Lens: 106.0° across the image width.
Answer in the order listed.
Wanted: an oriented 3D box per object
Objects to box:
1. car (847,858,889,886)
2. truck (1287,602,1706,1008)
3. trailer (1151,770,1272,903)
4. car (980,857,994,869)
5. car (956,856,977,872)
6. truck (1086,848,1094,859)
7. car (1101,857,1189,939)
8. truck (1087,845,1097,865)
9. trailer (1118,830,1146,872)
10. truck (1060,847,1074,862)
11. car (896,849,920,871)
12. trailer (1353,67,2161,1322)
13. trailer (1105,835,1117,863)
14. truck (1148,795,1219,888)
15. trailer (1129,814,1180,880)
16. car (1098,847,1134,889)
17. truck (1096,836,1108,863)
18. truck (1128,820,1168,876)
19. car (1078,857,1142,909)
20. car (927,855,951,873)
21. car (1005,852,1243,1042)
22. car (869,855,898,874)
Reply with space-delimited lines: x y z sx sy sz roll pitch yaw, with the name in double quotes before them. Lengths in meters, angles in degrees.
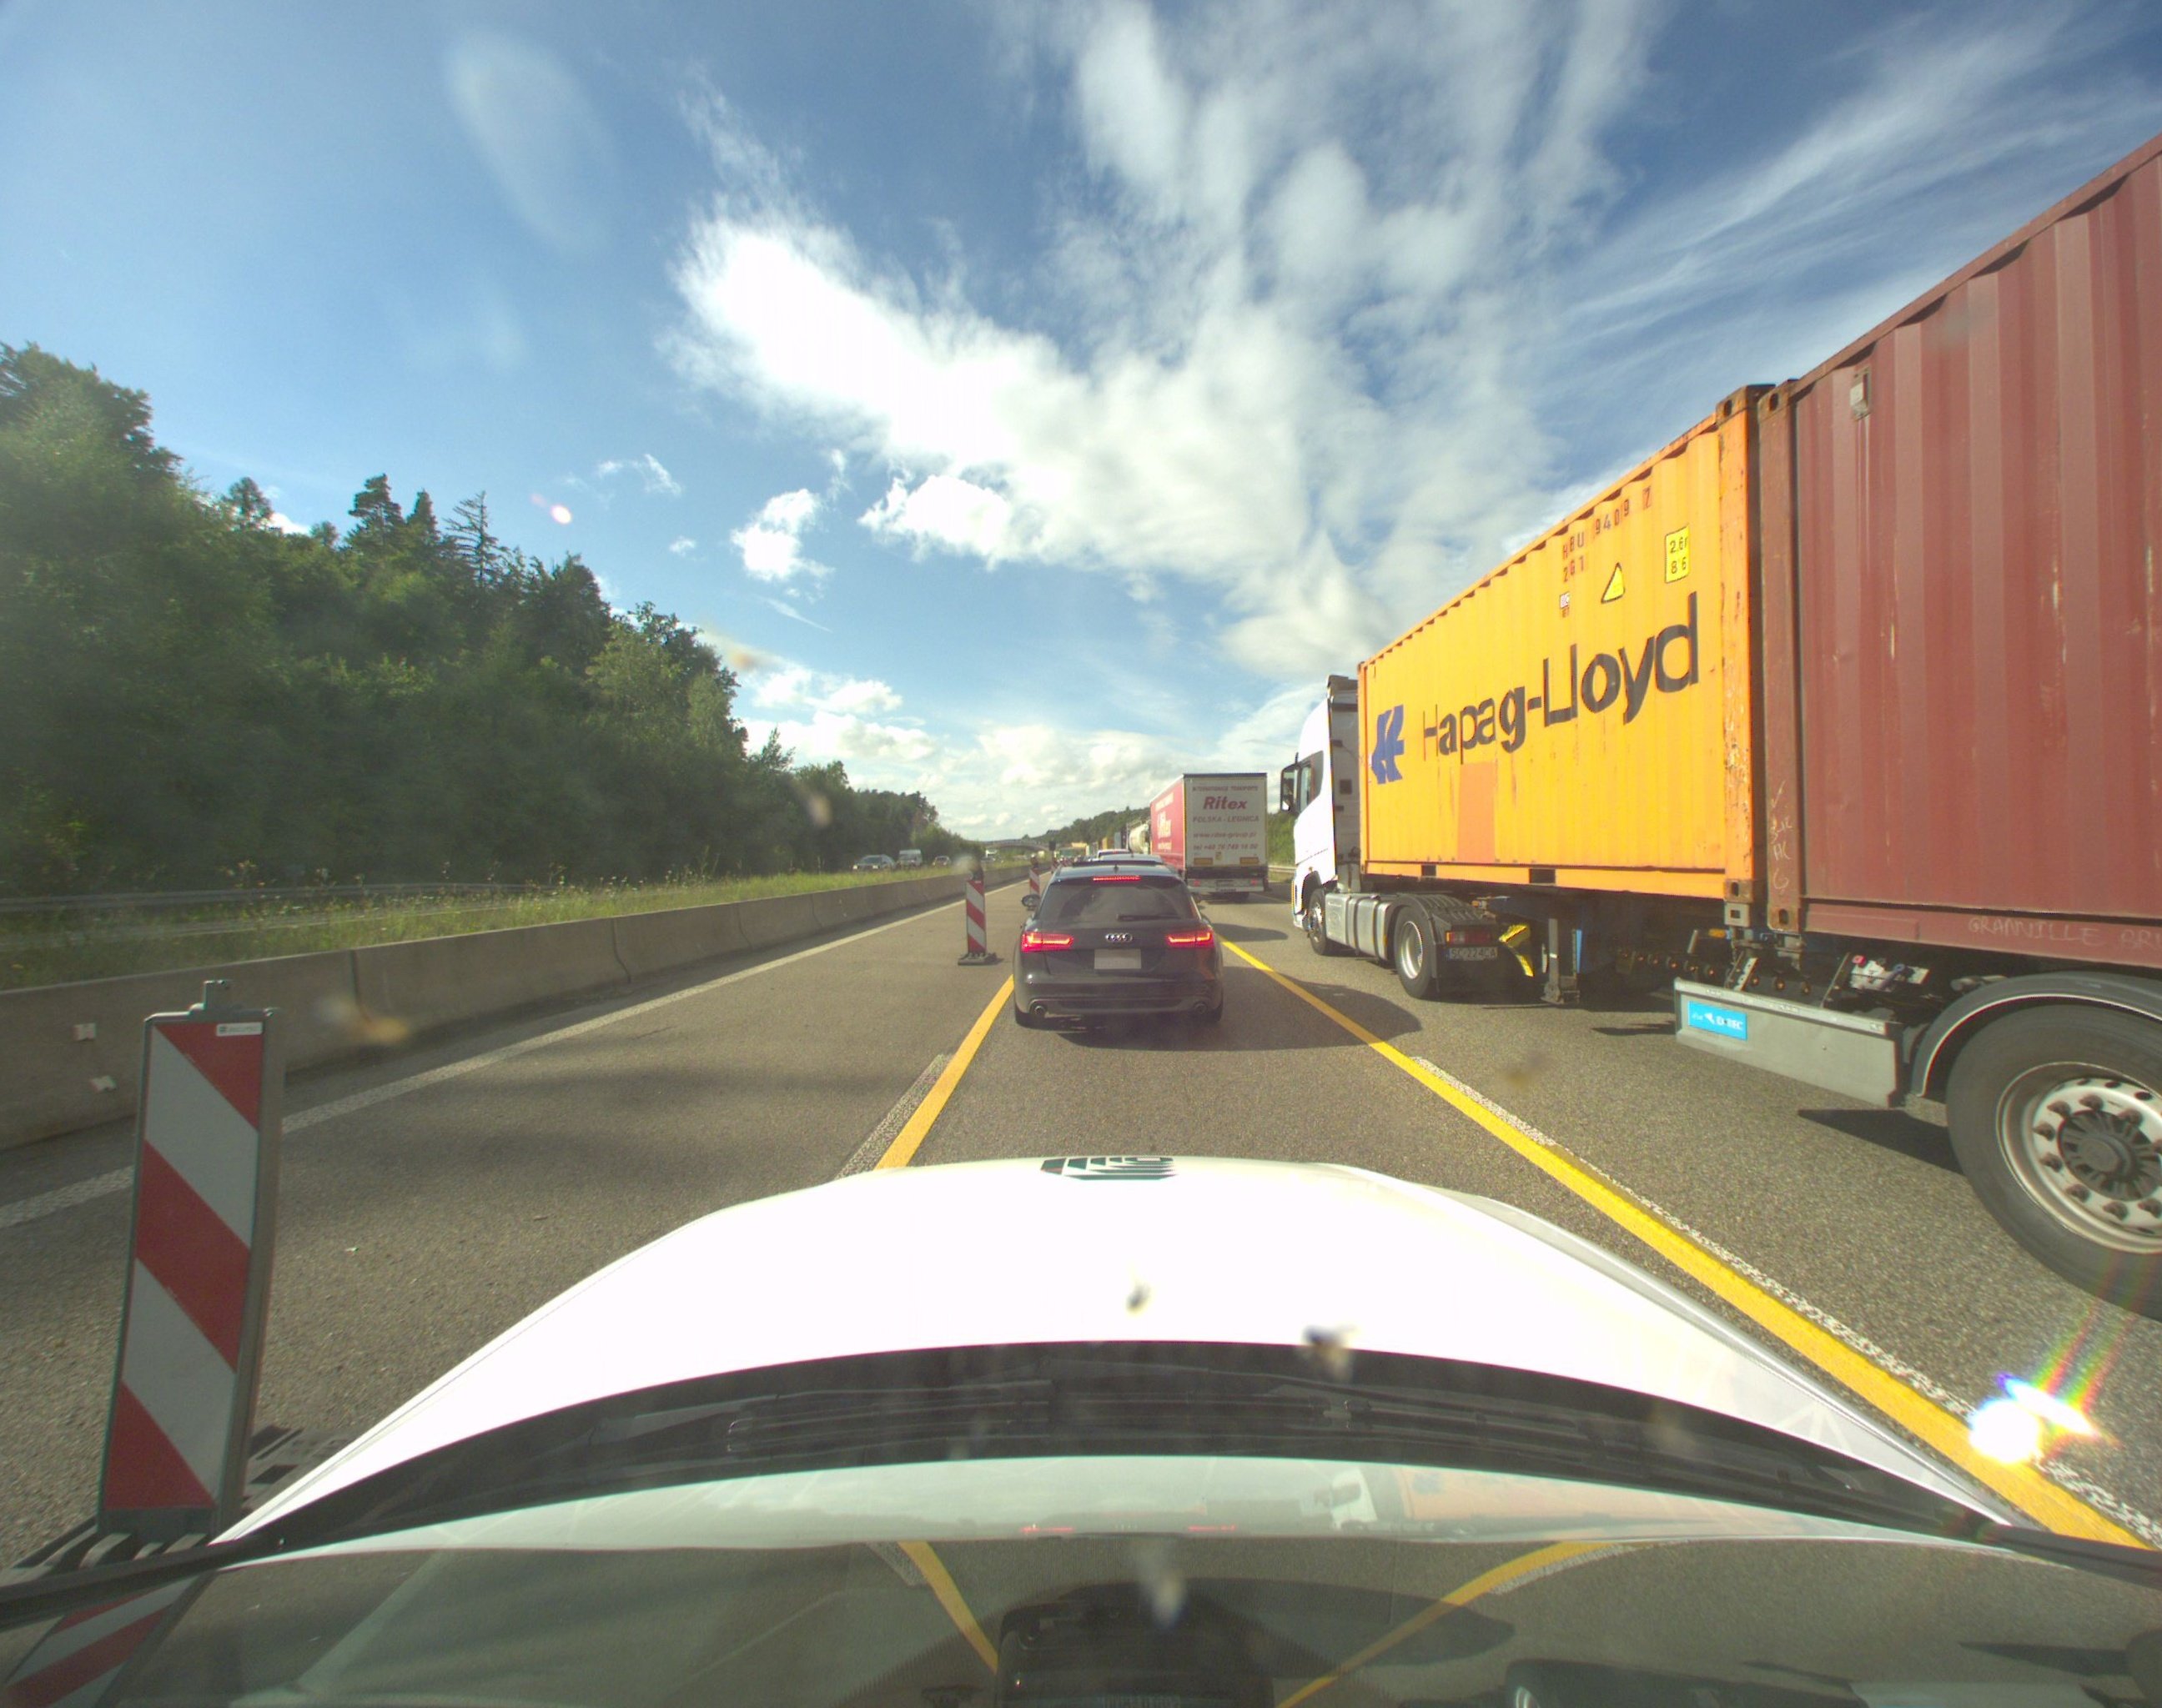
"car" -13.801 1.144 52.886 1.709 1.706 3.524 0 -1 2
"truck" 4.621 -0.451 10.519 2.486 3.780 5.790 -1 0 1
"trailer" 4.499 -0.521 31.161 2.690 3.969 13.420 -1 0 1
"car" -13.138 1.297 114.409 1.477 1.653 3.235 0 -1 2
"car" -13.327 1.205 95.133 1.792 1.849 3.812 0 -1 2
"truck" 2.686 -0.090 252.931 2.558 3.466 7.398 0 -1 0
"car" 1.167 0.784 15.866 1.518 1.439 3.286 0 -1 2
"truck" 2.549 0.224 186.133 2.130 4.257 7.073 -1 0 1
"trailer" 5.643 -0.292 91.530 2.795 4.413 10.436 0 -1 2
"truck" -4.340 0.217 253.240 3.300 4.175 9.680 -2 -1 -6
"car" -20.851 0.717 98.126 2.247 2.643 5.009 0 -1 -6
"trailer" 4.514 -0.480 4.018 2.463 3.775 12.137 -1 0 1
"trailer" 4.371 -0.714 118.471 1.611 3.918 6.490 0 -1 1
"truck" 4.628 -0.542 37.723 2.658 3.959 5.711 -1 0 1
"trailer" 4.777 -0.400 54.879 2.634 3.943 12.602 0 0 2
"car" 1.606 0.634 37.525 1.575 1.837 3.113 0 -1 2
"truck" 3.881 -0.792 151.862 1.987 4.914 9.562 -1 0 0
"truck" 4.951 -0.374 60.787 2.649 3.972 5.780 0 -1 2
"car" 0.855 0.811 24.132 1.745 1.397 3.609 0 -1 2
"car" -16.832 1.157 96.884 1.986 2.013 4.002 -1 0 2
"car" 0.399 0.750 8.389 1.842 1.463 4.001 -1 -1 2
"car" -21.359 1.148 88.266 1.986 2.014 4.001 0 -1 2
